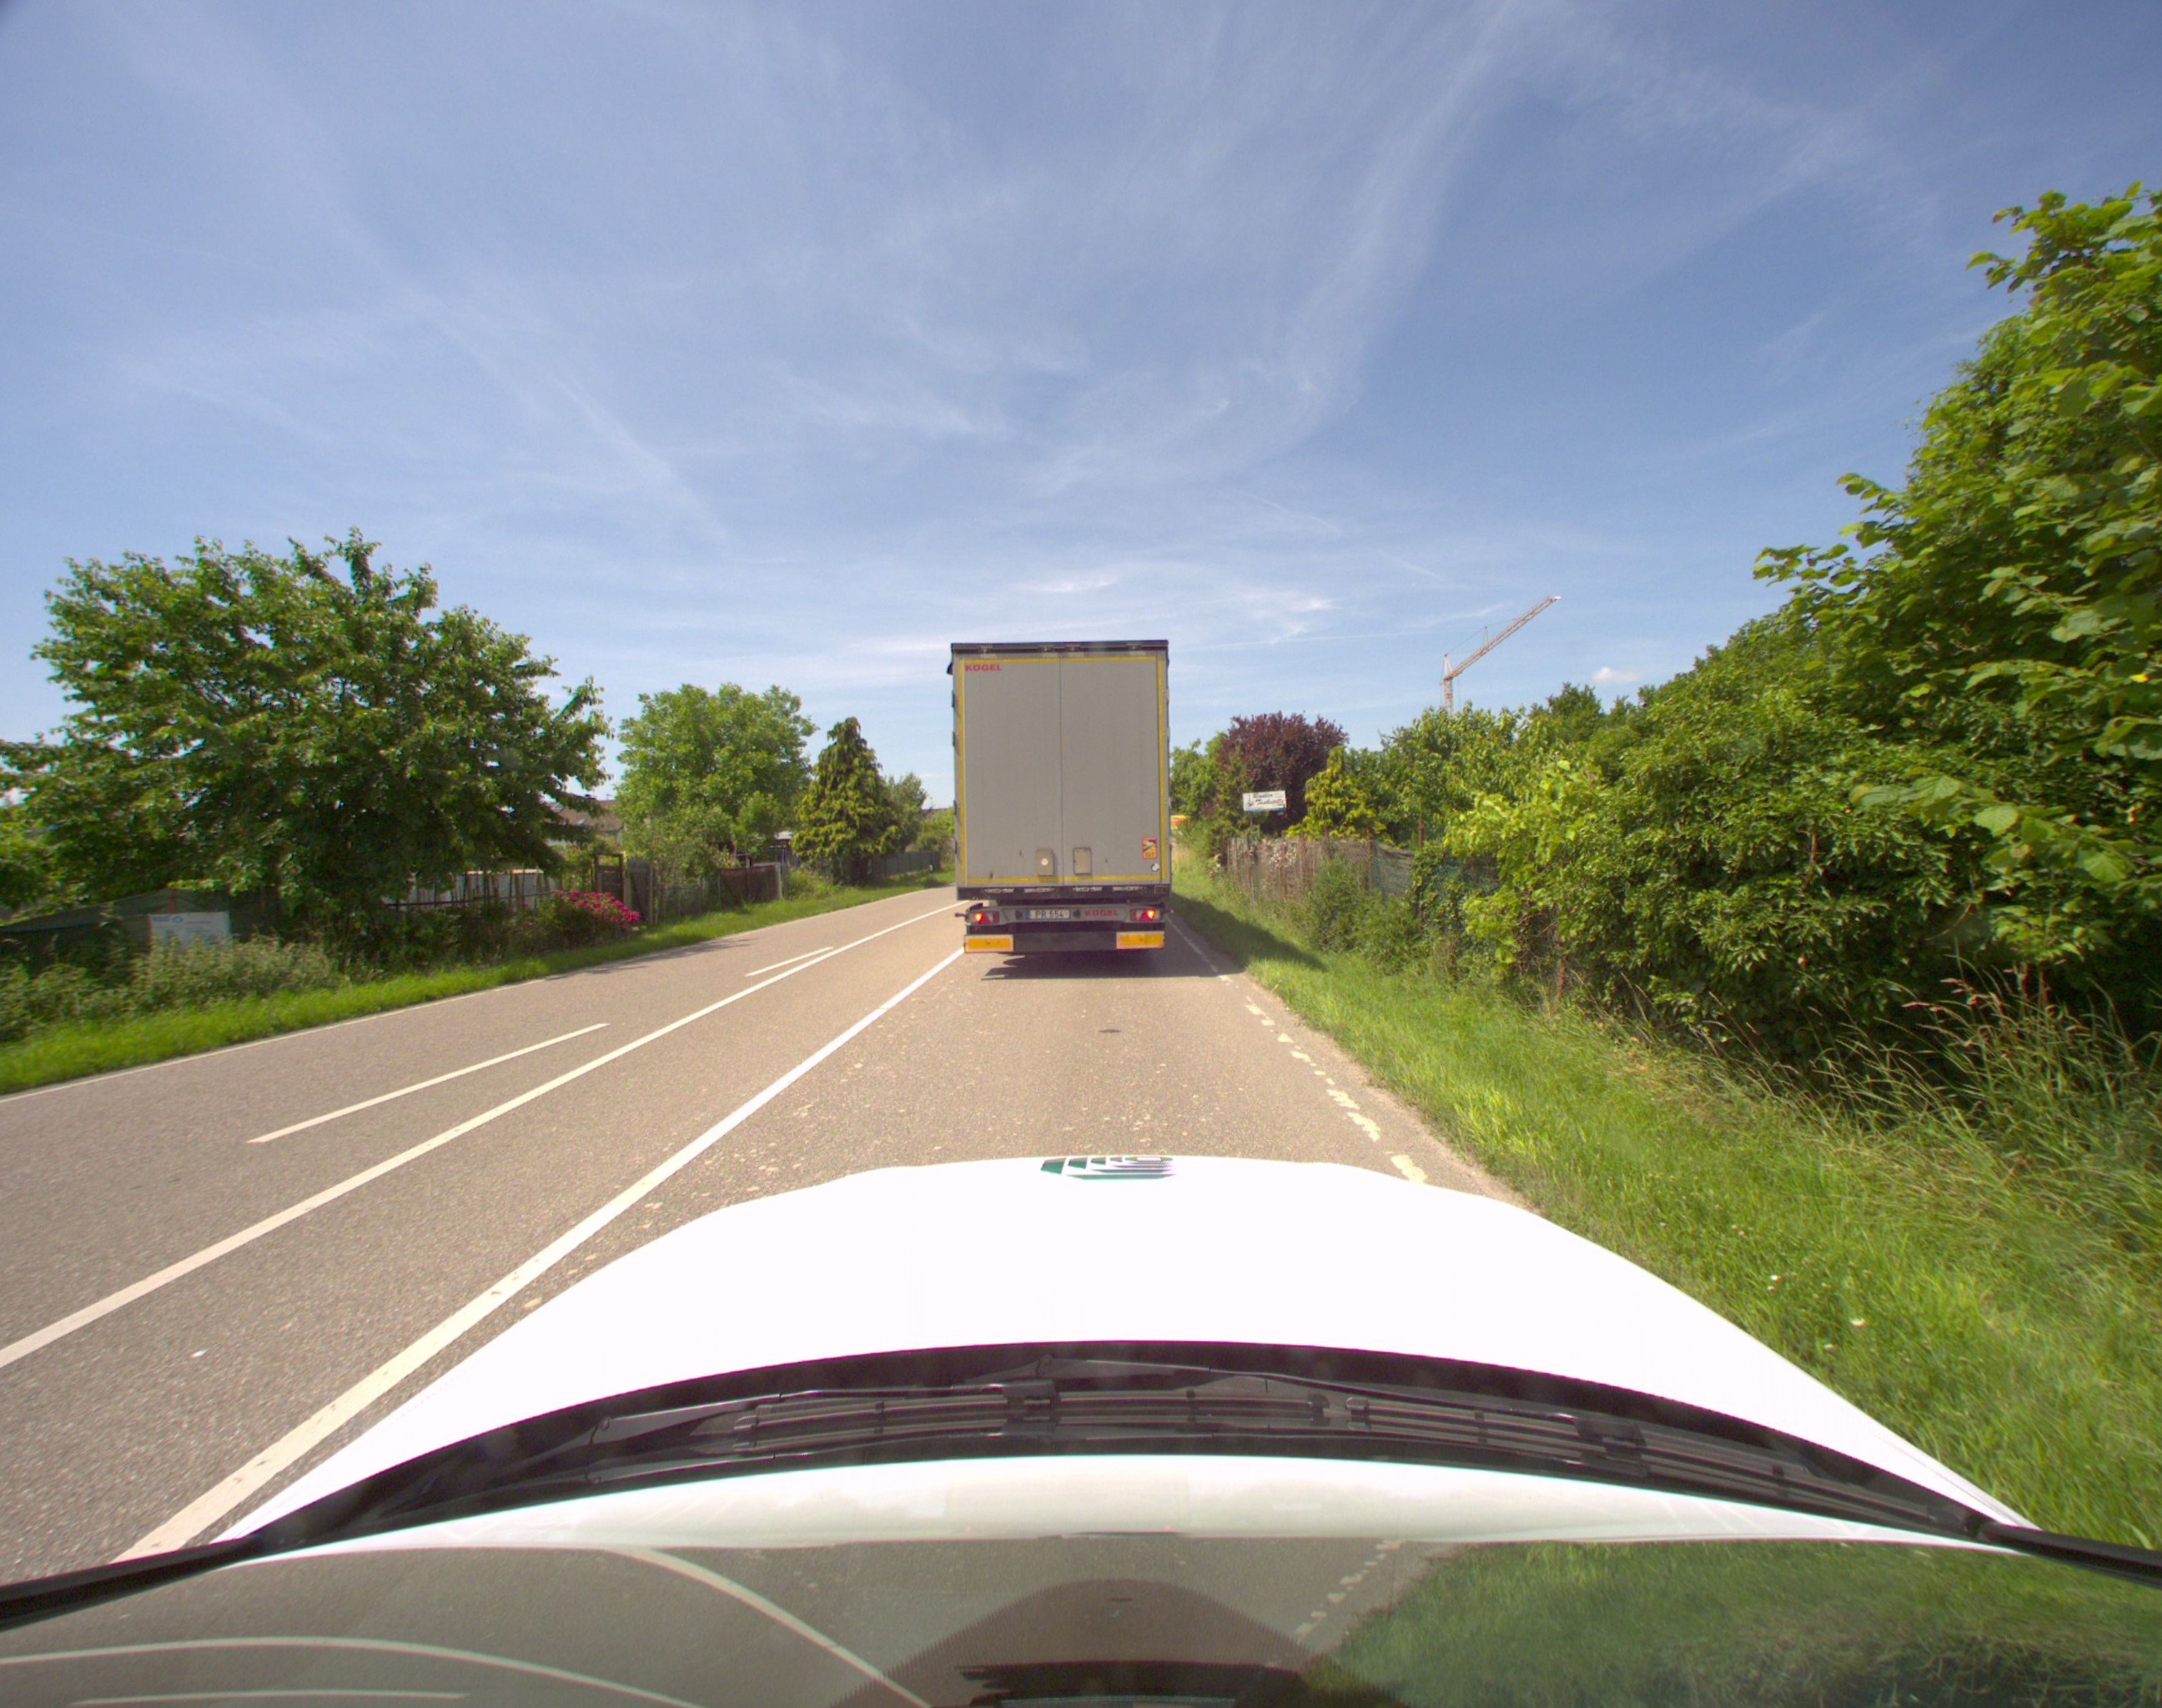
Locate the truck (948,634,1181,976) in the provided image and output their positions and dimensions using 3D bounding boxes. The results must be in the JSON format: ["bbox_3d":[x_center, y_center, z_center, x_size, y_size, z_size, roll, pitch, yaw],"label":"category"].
[{"bbox_3d":[-0.203,-0.596,13.849,2.639,3.917,8.823,-1,0,0],"label":"truck"}]
